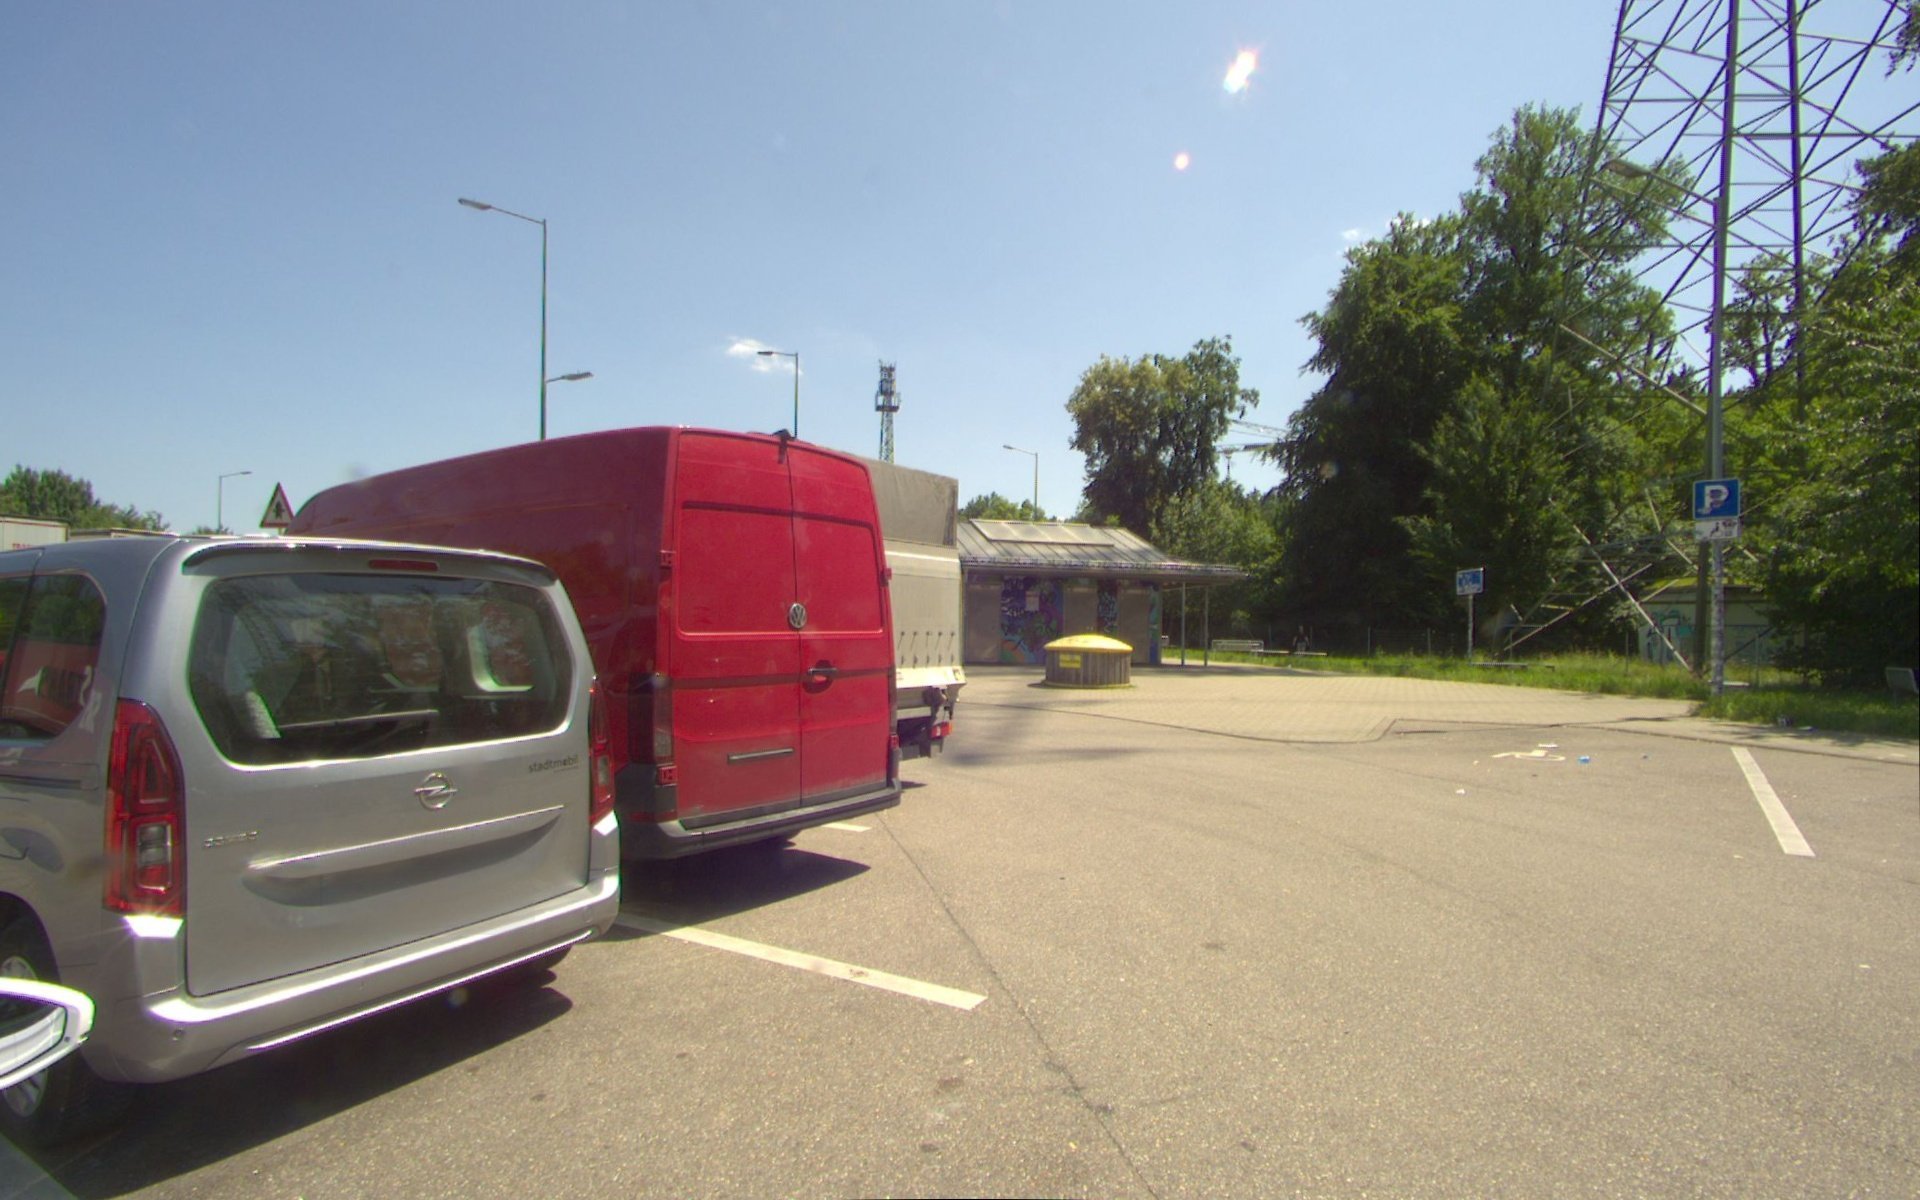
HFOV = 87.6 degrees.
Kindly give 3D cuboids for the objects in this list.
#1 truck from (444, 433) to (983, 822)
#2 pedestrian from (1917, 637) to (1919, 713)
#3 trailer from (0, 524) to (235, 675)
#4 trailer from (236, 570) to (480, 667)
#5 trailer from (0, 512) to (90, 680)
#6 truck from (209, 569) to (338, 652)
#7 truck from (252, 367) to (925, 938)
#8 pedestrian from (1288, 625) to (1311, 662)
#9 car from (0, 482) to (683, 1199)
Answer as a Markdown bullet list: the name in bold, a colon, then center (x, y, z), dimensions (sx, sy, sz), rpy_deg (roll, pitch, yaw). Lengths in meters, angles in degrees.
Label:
- **truck**: center (-2.733, 0.307, 10.291), dimensions (5.582, 2.949, 2.449), rpy_deg (-2, -2, 37)
- **pedestrian**: center (17.262, 1.326, 17.481), dimensions (0.690, 1.352, 0.561), rpy_deg (-1, -1, 33)
- **trailer**: center (-27.949, -0.096, 31.791), dimensions (14.184, 4.040, 2.808), rpy_deg (2, -2, 33)
- **trailer**: center (-26.095, 0.654, 42.906), dimensions (14.184, 3.552, 2.808), rpy_deg (2, -2, 33)
- **trailer**: center (-29.012, -0.254, 28.145), dimensions (14.184, 4.040, 2.808), rpy_deg (2, -2, 33)
- **truck**: center (-32.090, 0.475, 46.763), dimensions (5.813, 3.566, 2.799), rpy_deg (2, -2, 33)
- **truck**: center (-2.884, 0.339, 7.052), dimensions (5.238, 2.655, 1.972), rpy_deg (-2, -2, 38)
- **pedestrian**: center (15.659, 1.997, 46.191), dimensions (0.723, 1.658, 0.792), rpy_deg (0, -1, -11)
- **car**: center (-3.377, 0.688, 4.252), dimensions (4.113, 1.887, 1.868), rpy_deg (1, -2, 31)
